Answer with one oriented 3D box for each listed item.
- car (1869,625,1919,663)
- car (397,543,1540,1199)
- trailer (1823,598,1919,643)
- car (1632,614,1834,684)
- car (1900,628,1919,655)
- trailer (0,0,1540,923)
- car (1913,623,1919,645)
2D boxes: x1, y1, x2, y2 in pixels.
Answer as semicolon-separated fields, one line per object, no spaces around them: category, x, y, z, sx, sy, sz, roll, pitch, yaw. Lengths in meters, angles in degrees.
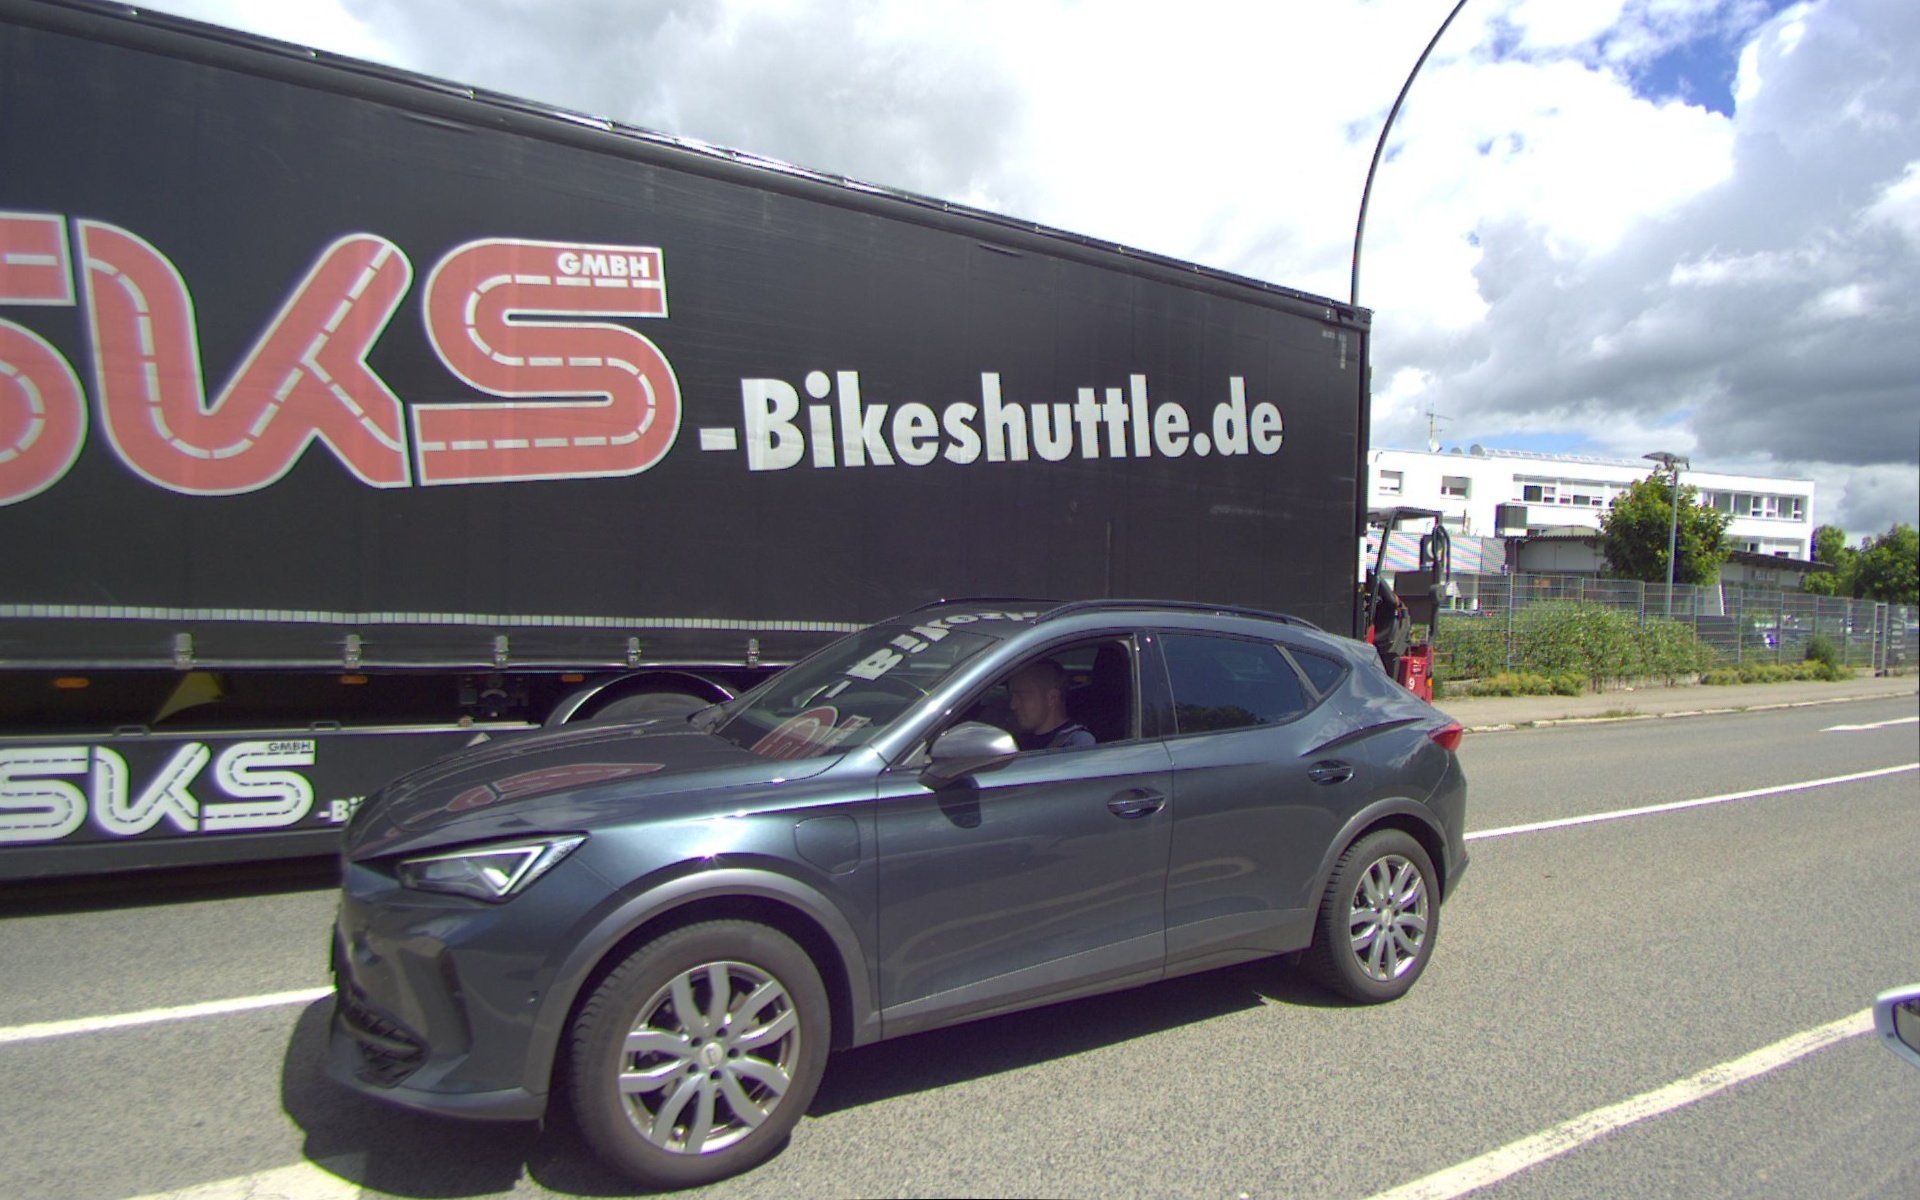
car;46.475;2.160;48.037;2.134;1.723;3.981;2;1;-9
car;0.203;0.684;3.991;4.204;1.482;1.830;2;-1;-31
trailer;86.862;1.885;93.438;9.580;4.148;2.820;0;0;30
car;22.566;1.379;29.480;2.149;1.723;4.168;2;1;-31
car;55.933;2.466;56.511;1.763;1.499;4.198;2;1;-9
trailer;-2.505;-0.674;6.452;15.356;4.107;2.788;2;1;-27
car;77.943;2.789;78.713;4.228;1.786;2.001;3;1;15
